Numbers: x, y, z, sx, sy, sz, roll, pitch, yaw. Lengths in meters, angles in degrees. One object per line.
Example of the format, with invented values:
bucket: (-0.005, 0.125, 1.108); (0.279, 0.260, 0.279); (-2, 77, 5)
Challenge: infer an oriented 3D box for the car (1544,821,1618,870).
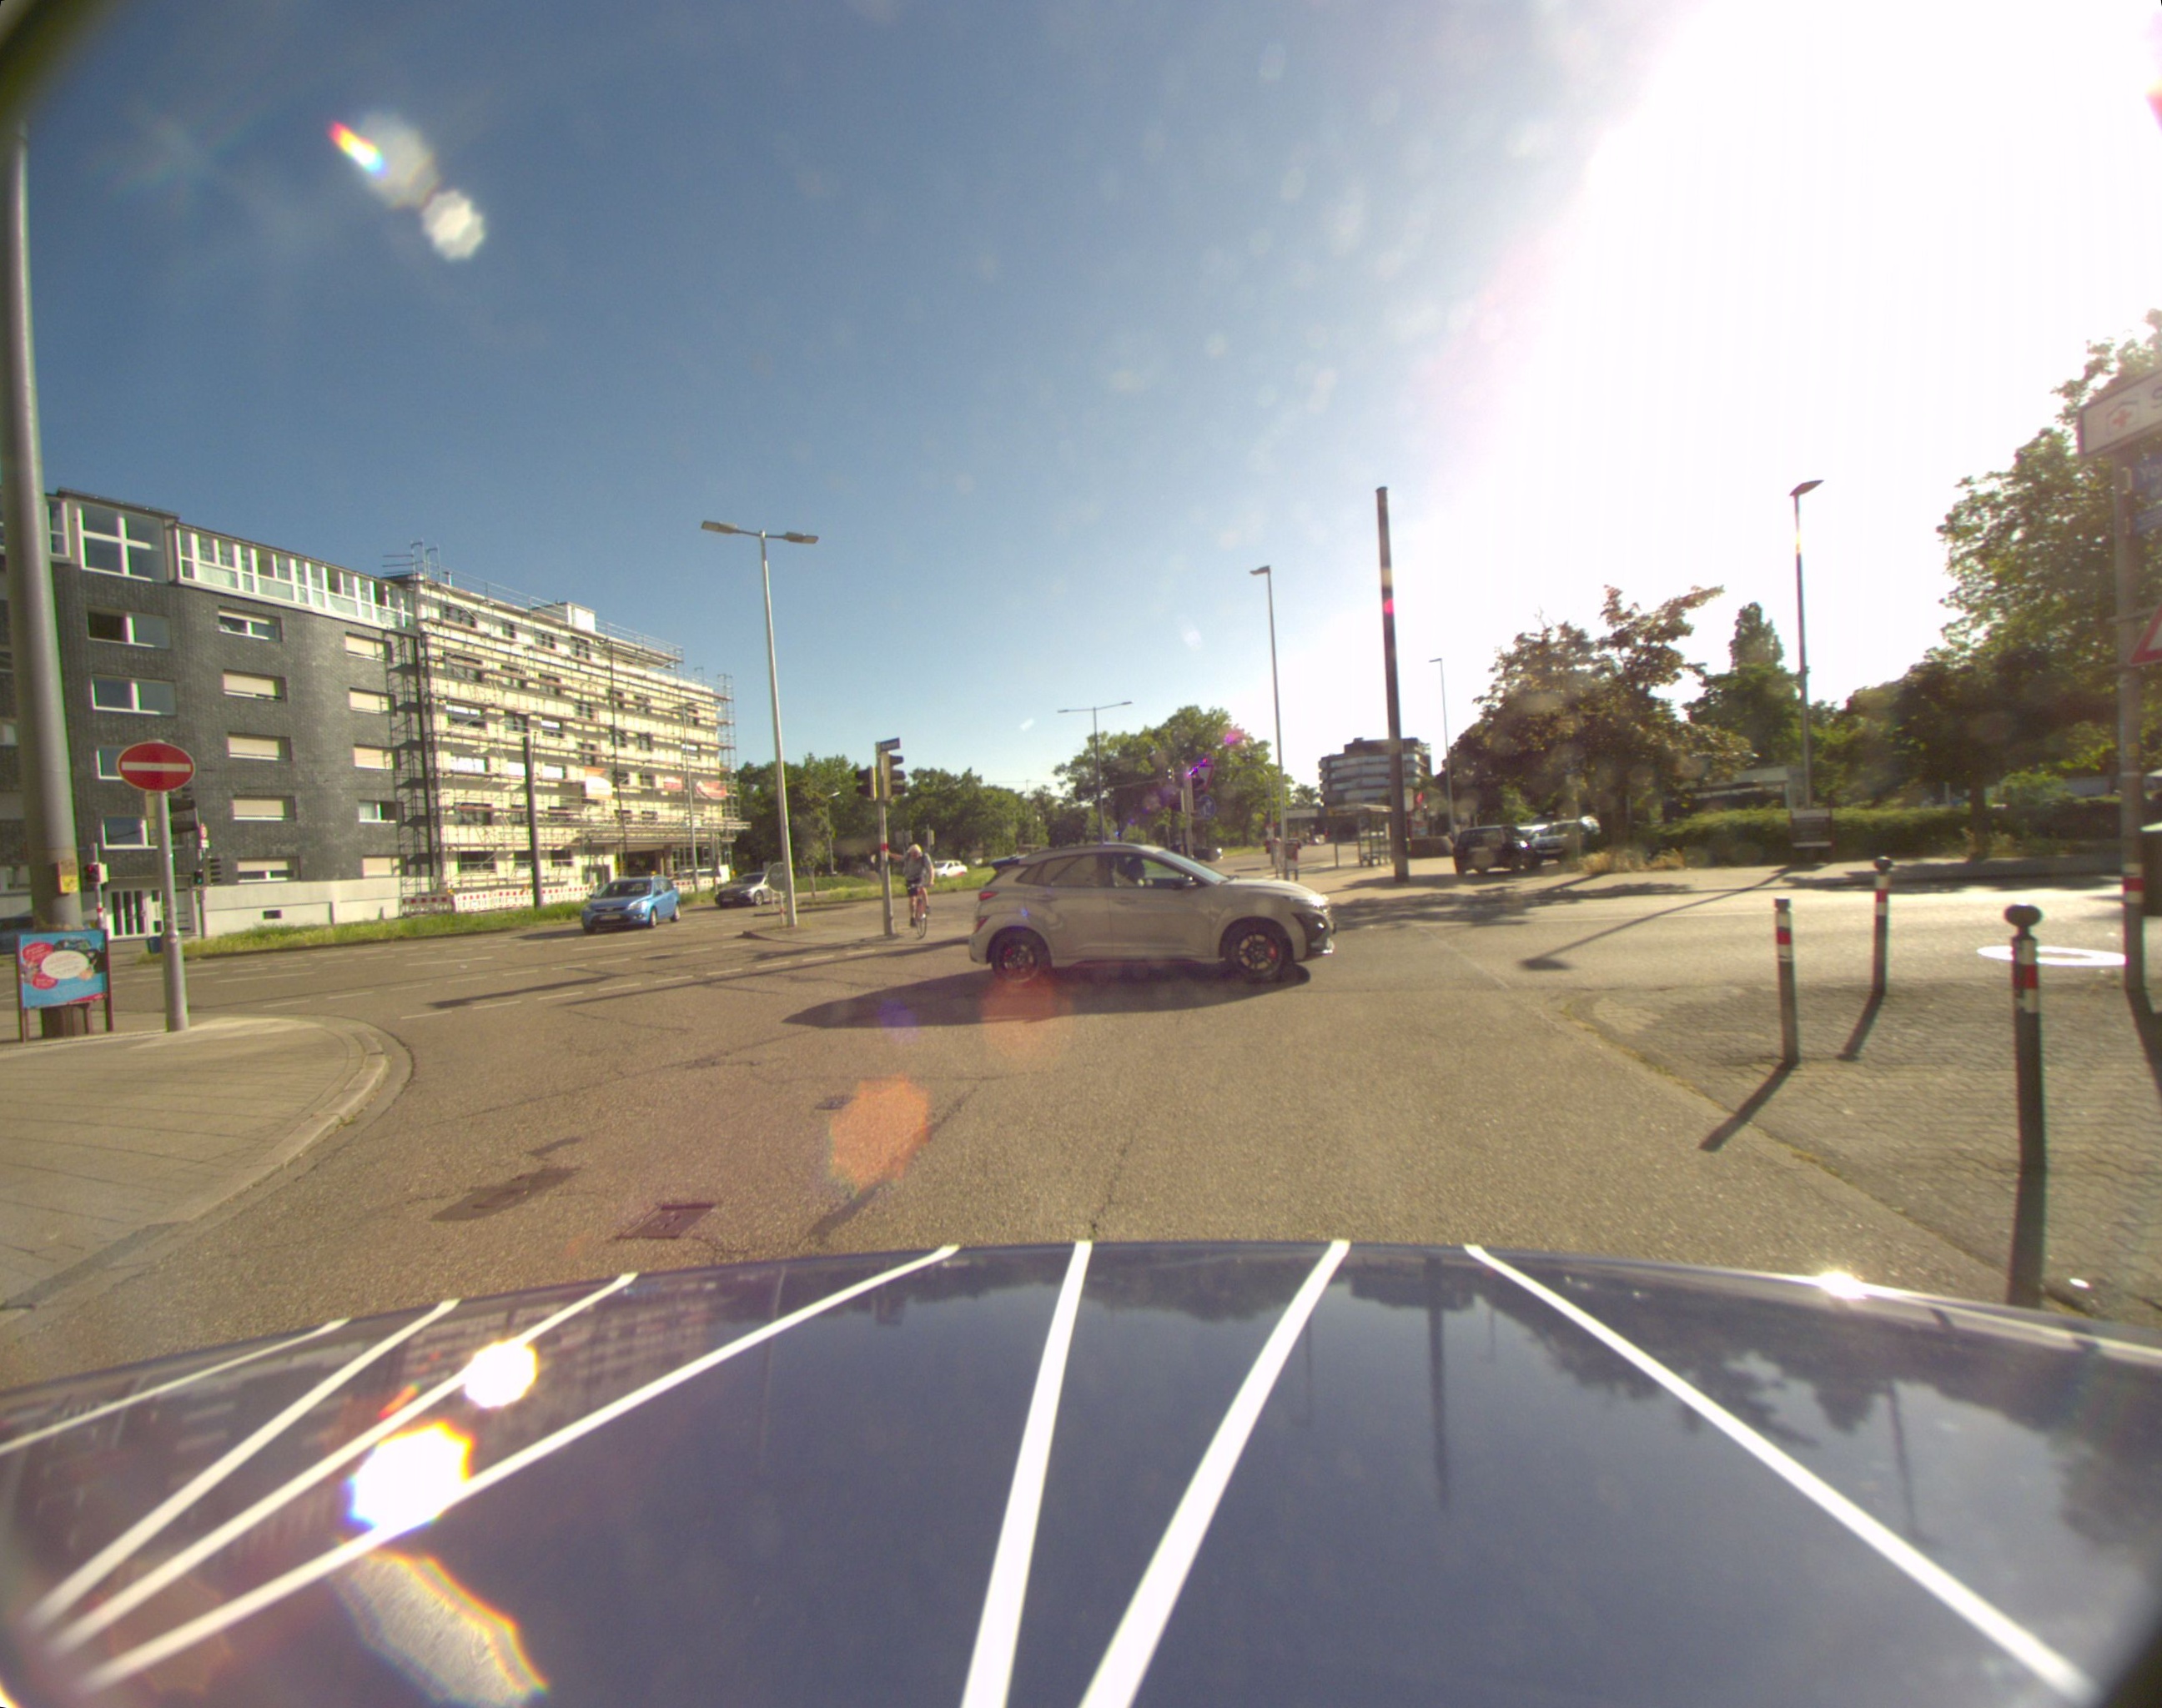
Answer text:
car: (18.136, -0.337, 27.497); (1.795, 1.571, 4.007); (-2, 1, 39)

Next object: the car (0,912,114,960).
car: (-36.958, 2.903, 26.269); (4.007, 1.407, 1.684); (-4, 1, -40)

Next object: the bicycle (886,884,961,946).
bicycle: (-2.972, 1.091, 14.189); (0.830, 0.981, 1.942); (-3, 1, -27)

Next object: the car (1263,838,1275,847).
car: (36.679, -2.178, 148.393); (1.997, 1.652, 4.488); (-3, 0, 11)

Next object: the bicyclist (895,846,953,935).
bicyclist: (-2.908, 0.661, 14.044); (0.829, 1.555, 0.594); (-4, 1, -27)

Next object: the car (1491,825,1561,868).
car: (17.812, -0.310, 30.330); (1.679, 1.499, 3.602); (-3, 1, 41)

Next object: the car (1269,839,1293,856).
car: (21.191, -0.695, 80.324); (1.996, 1.543, 4.490); (-3, 0, 20)

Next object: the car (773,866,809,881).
car: (-32.222, 2.183, 84.412); (1.818, 1.386, 3.688); (-3, 1, 16)

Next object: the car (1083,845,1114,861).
car: (1.920, -0.125, 81.166); (1.870, 1.447, 4.491); (-3, 0, 21)

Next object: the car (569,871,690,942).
car: (-13.359, 1.463, 22.797); (1.875, 1.765, 4.479); (-3, 0, -15)

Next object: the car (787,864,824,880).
car: (-30.201, 1.974, 83.367); (1.818, 1.574, 3.688); (-3, 1, 16)

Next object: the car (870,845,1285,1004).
car: (0.041, 0.794, 9.097); (4.477, 1.543, 1.907); (-3, 1, 12)

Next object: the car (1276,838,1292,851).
car: (28.995, -1.397, 108.625); (1.997, 1.652, 4.488); (-3, 0, 13)

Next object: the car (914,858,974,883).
car: (-9.373, 1.097, 52.420); (1.870, 1.447, 4.491); (-3, 0, 21)

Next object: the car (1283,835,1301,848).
car: (27.000, -1.594, 97.317); (1.997, 1.543, 4.489); (-3, 0, 13)

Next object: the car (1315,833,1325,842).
car: (58.287, -4.007, 185.009); (1.996, 2.002, 4.004); (-3, 1, 14)

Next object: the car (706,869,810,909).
car: (-14.354, 1.508, 34.110); (1.870, 1.447, 4.489); (-3, 0, 14)

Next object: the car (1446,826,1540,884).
car: (12.801, -0.009, 23.529); (1.680, 1.499, 3.602); (-5, -1, 41)
